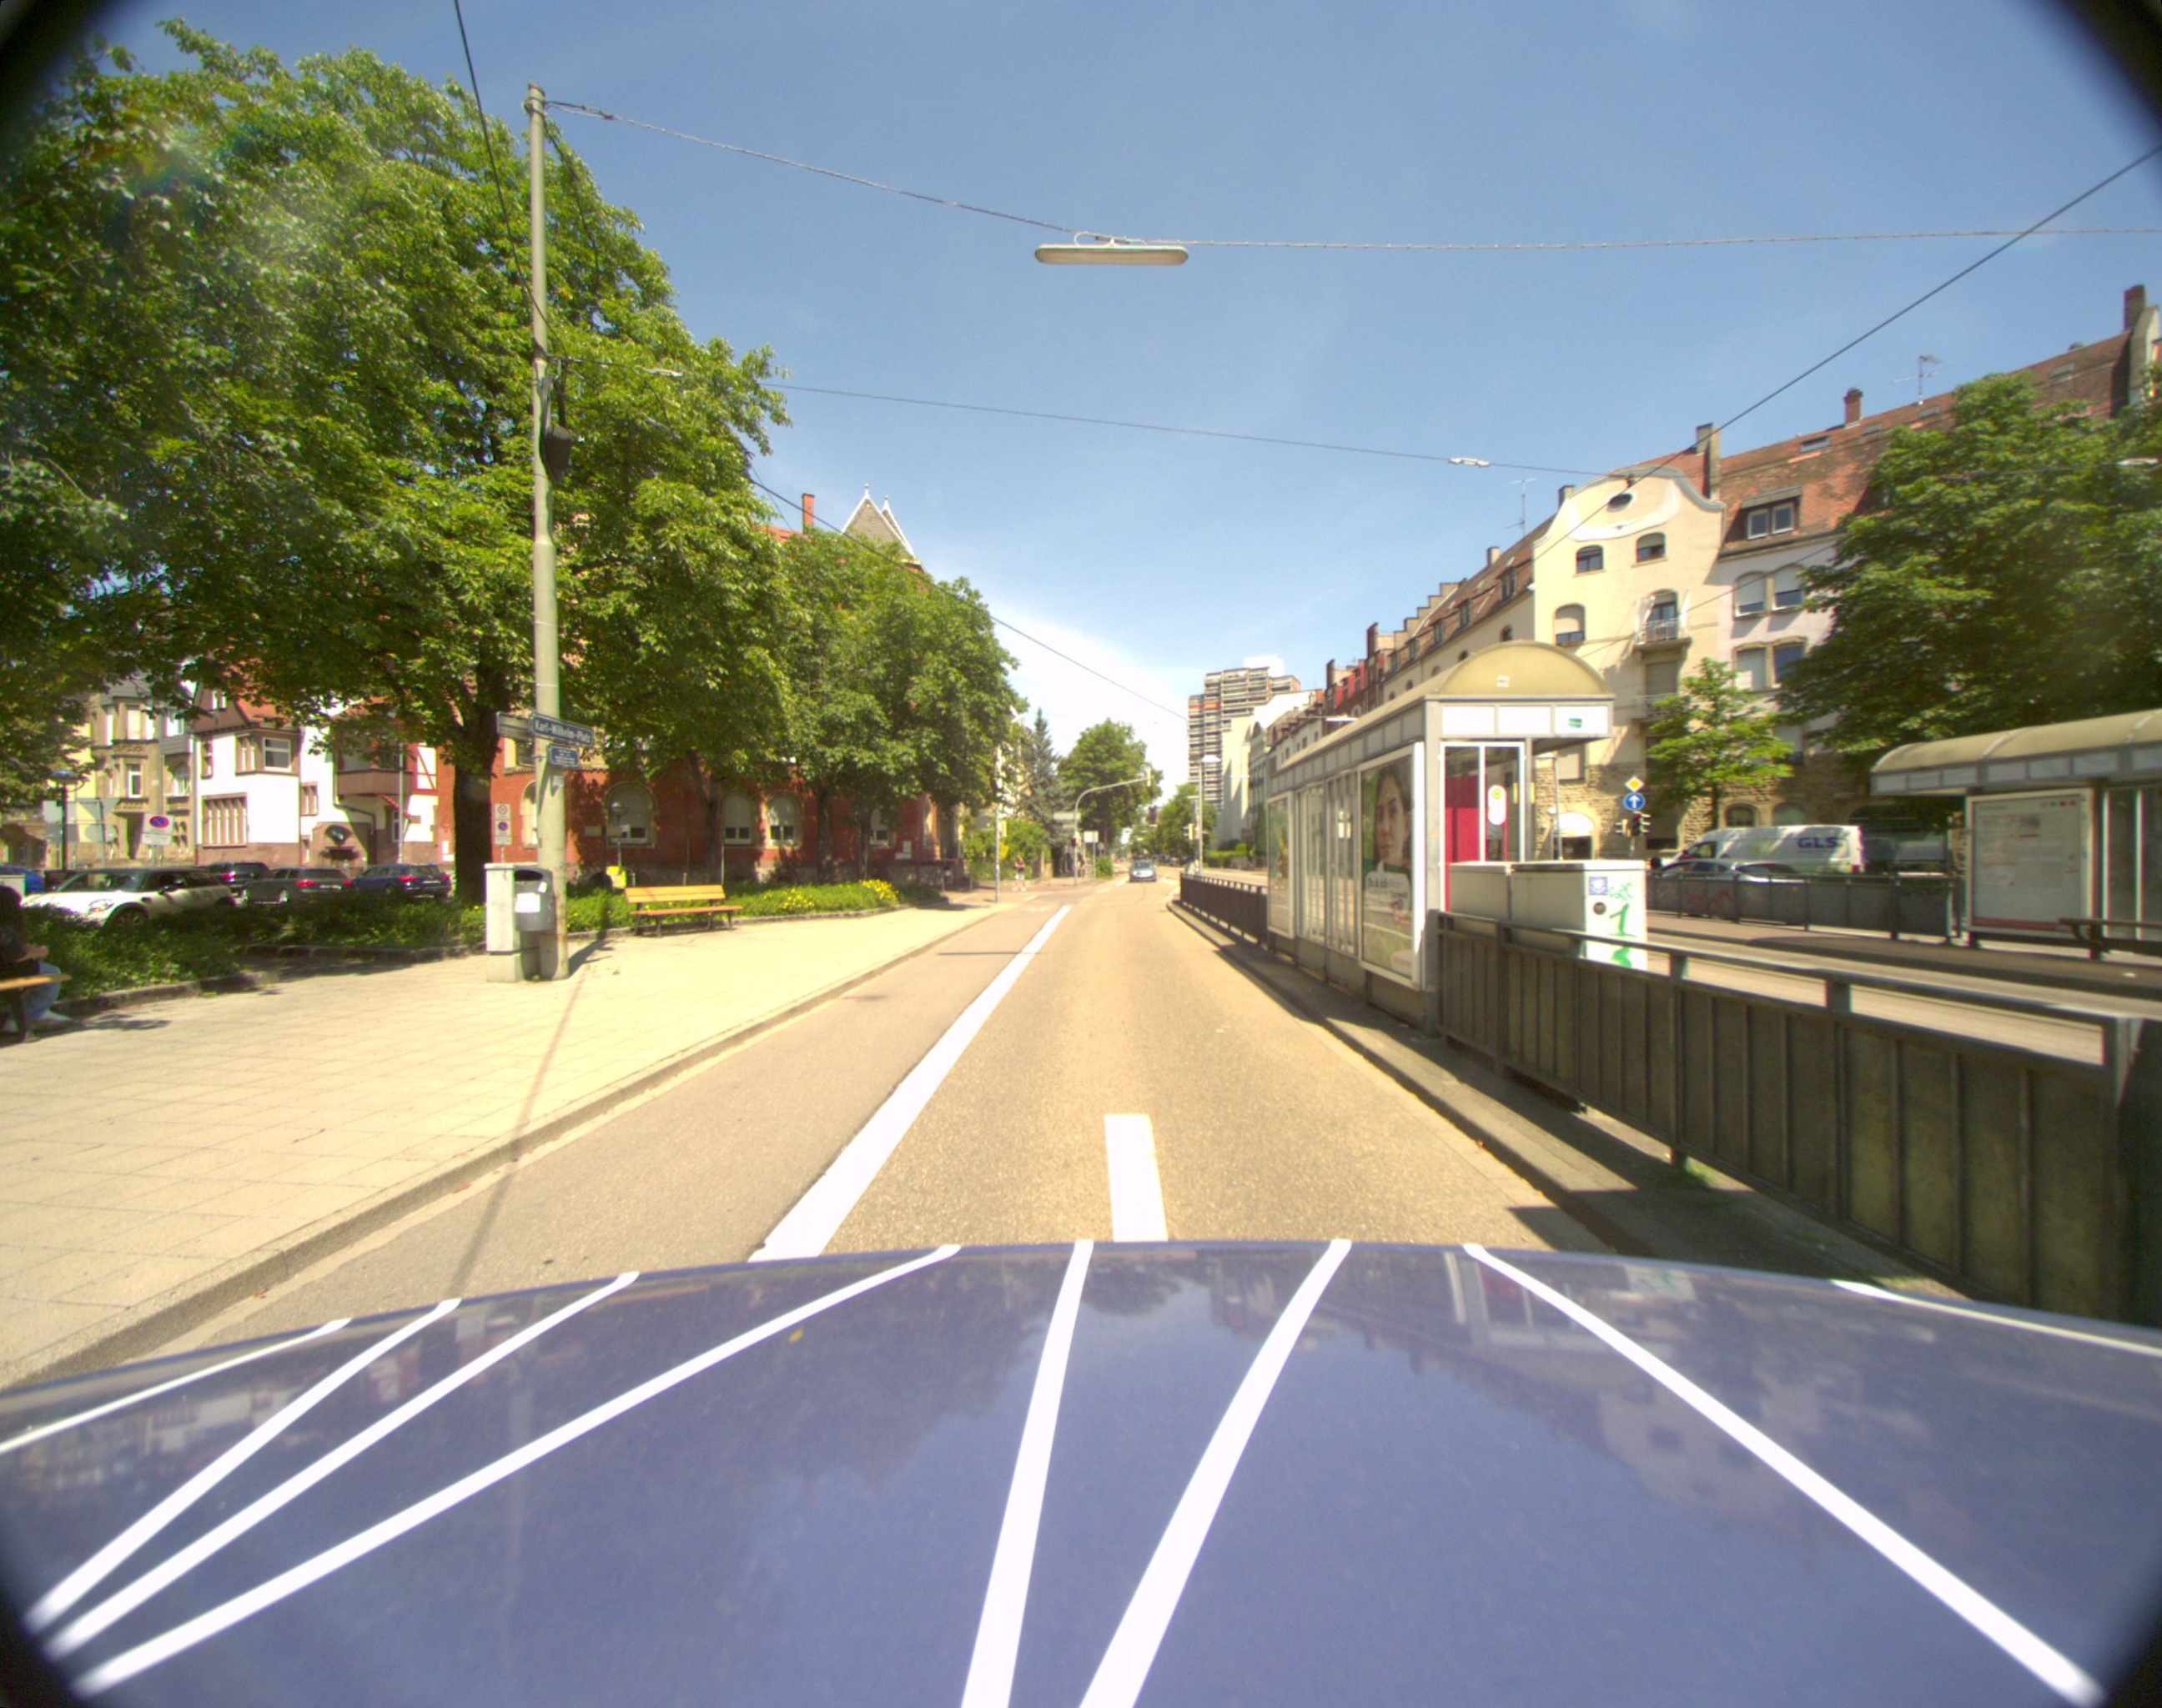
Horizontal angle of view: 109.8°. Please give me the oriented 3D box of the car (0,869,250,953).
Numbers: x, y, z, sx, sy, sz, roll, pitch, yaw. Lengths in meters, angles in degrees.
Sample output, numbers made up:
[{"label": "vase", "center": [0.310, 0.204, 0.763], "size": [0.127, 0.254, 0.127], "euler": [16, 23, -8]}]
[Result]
[{"label": "car", "center": [-19.666, 1.075, 15.778], "size": [1.707, 1.497, 3.646], "euler": [-1, -1, -20]}]

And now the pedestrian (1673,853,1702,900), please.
[{"label": "pedestrian", "center": [20.289, 0.745, 25.424], "size": [0.594, 1.542, 0.474], "euler": [0, 0, -1]}]

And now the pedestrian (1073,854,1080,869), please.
[{"label": "pedestrian", "center": [-0.468, 0.788, 79.367], "size": [0.702, 1.645, 0.665], "euler": [0, 0, 1]}]

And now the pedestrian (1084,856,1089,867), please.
[{"label": "pedestrian", "center": [0.921, 1.144, 118.799], "size": [0.686, 1.732, 0.660], "euler": [-2, 1, 3]}]

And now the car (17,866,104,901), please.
[{"label": "car", "center": [-59.176, 1.714, 44.079], "size": [4.299, 1.862, 1.941], "euler": [-2, 1, 23]}]

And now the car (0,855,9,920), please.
[{"label": "car", "center": [-37.658, 1.203, 23.794], "size": [1.934, 2.178, 4.315], "euler": [-2, 1, 23]}]

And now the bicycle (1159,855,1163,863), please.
[{"label": "bicycle", "center": [17.365, 1.097, 165.169], "size": [0.644, 1.503, 1.970], "euler": [-2, 1, -2]}]

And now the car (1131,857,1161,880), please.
[{"label": "car", "center": [4.342, 0.957, 50.906], "size": [1.895, 1.372, 4.001], "euler": [-2, 1, 5]}]

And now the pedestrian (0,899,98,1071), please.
[{"label": "pedestrian", "center": [-7.741, 0.910, 5.417], "size": [0.566, 1.136, 0.725], "euler": [0, 1, -16]}]

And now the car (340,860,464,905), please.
[{"label": "car", "center": [-27.042, 1.133, 30.286], "size": [4.299, 1.608, 1.941], "euler": [-2, 1, 23]}]

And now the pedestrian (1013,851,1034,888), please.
[{"label": "pedestrian", "center": [-2.895, 0.768, 38.057], "size": [0.840, 1.813, 0.672], "euler": [-1, 1, -33]}]

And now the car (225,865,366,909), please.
[{"label": "car", "center": [-29.323, 1.238, 28.354], "size": [5.023, 1.474, 1.941], "euler": [-2, 1, 23]}]

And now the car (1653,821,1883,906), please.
[{"label": "car", "center": [24.125, 0.313, 26.903], "size": [2.278, 2.658, 5.812], "euler": [-3, 1, -42]}]

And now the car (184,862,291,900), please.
[{"label": "car", "center": [-39.588, 1.277, 35.665], "size": [4.299, 1.608, 1.941], "euler": [-2, 1, 23]}]

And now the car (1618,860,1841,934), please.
[{"label": "car", "center": [14.840, 0.903, 17.725], "size": [1.812, 1.386, 3.999], "euler": [-2, 1, 1]}]

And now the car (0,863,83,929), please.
[{"label": "car", "center": [-32.842, 1.303, 22.026], "size": [1.934, 1.869, 4.315], "euler": [-2, 1, 23]}]

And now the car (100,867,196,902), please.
[{"label": "car", "center": [-48.421, 1.575, 39.433], "size": [4.299, 1.608, 1.941], "euler": [-2, 1, 23]}]

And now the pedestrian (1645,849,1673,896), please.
[{"label": "pedestrian", "center": [20.113, 0.641, 26.445], "size": [0.594, 1.637, 0.474], "euler": [0, 0, 1]}]
